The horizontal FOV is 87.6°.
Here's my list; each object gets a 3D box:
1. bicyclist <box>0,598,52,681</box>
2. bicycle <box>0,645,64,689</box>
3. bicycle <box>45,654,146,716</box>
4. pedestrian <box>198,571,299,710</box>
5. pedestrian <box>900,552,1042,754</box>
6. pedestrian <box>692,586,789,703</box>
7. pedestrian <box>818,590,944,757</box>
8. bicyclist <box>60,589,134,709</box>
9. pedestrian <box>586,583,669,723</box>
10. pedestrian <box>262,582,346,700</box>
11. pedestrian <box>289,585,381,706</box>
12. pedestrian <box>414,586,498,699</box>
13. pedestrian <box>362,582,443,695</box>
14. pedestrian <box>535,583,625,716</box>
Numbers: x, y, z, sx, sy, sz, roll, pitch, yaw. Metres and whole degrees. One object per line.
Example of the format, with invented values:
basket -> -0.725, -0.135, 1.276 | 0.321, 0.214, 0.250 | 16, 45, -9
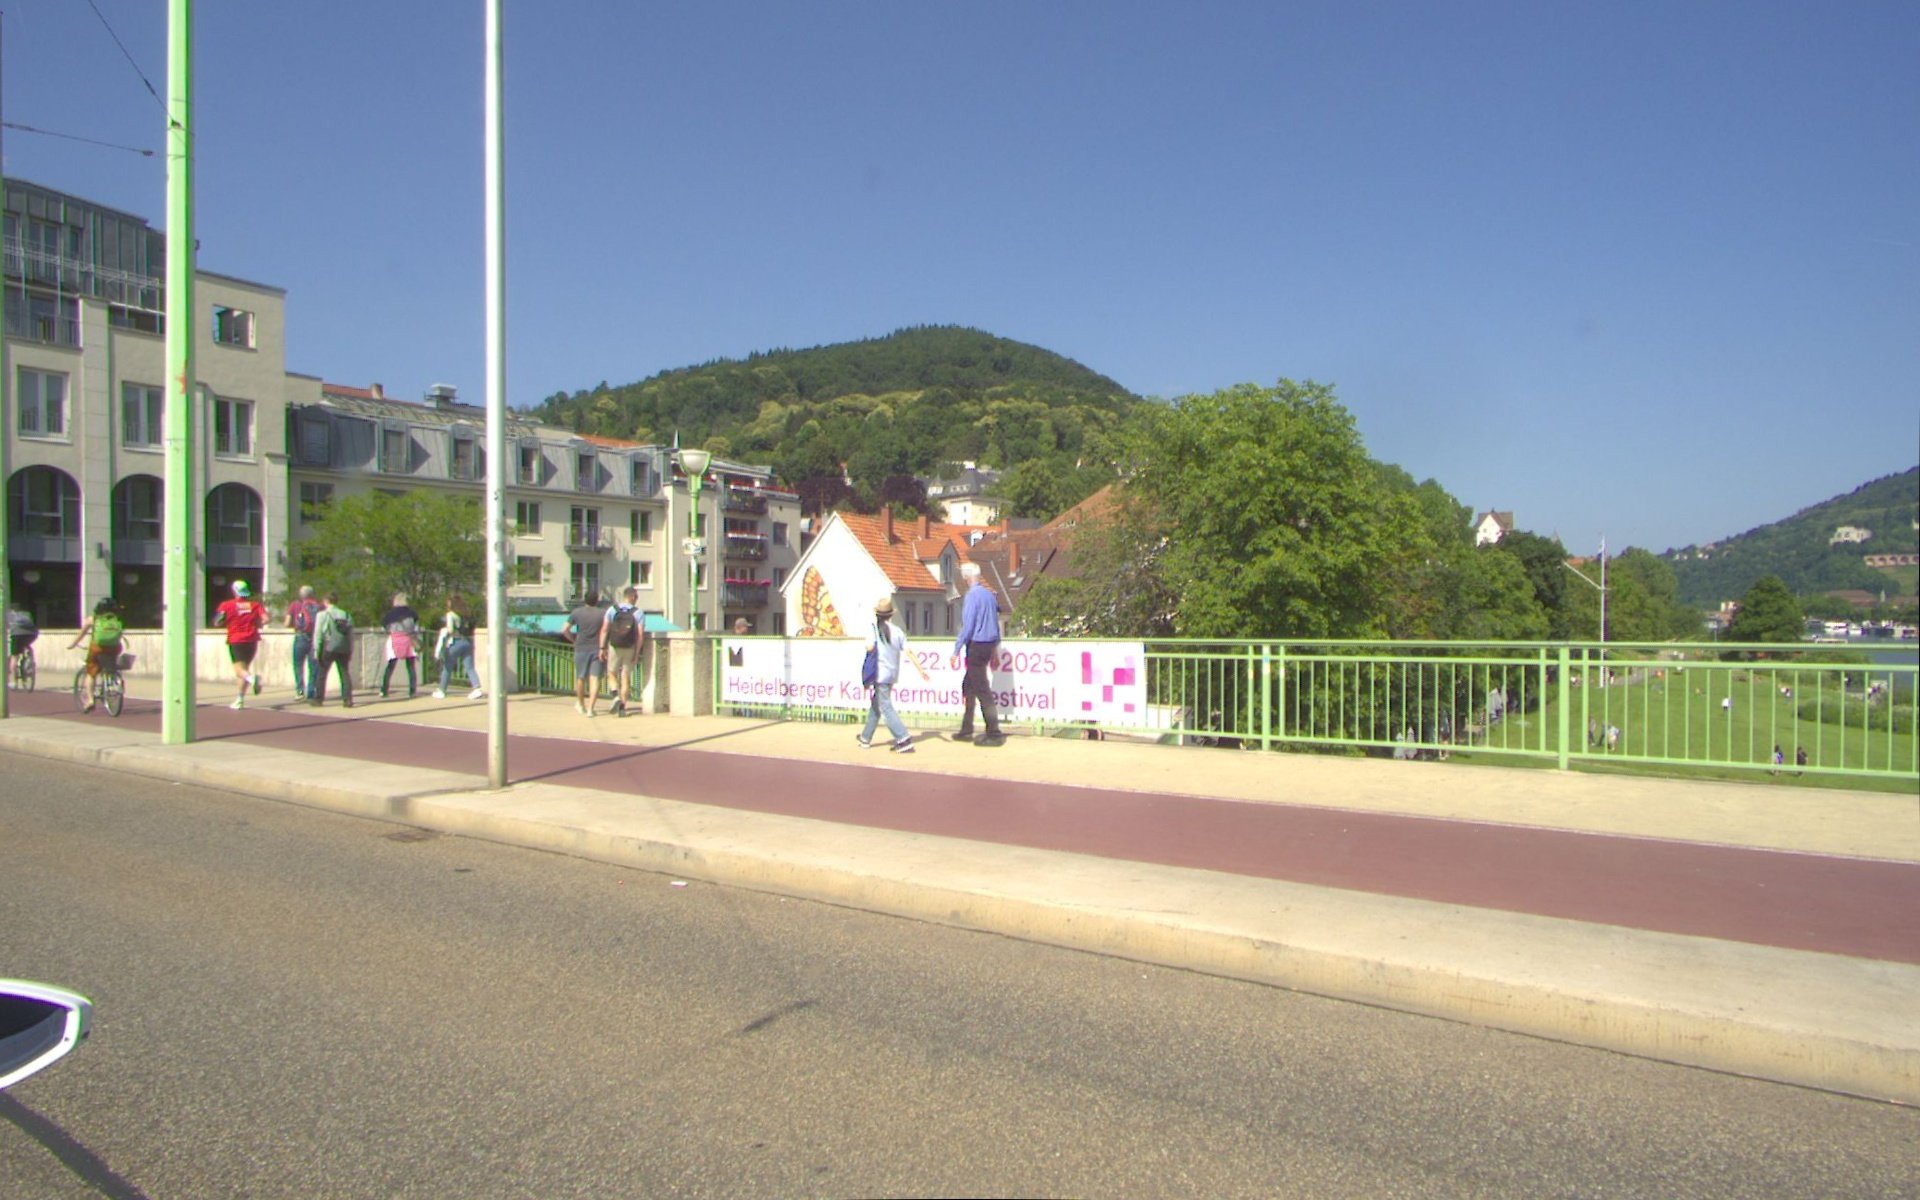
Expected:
bicyclist -> -18.126, 0.758, 19.400 | 0.691, 1.579, 0.586 | 0, 1, 30
bicycle -> -18.154, 1.277, 19.426 | 1.804, 0.776, 0.593 | -1, 1, 30
bicycle -> -12.455, 1.201, 14.412 | 1.840, 0.776, 0.592 | -1, 1, 33
pedestrian -> -10.464, 0.578, 14.730 | 1.111, 1.950, 0.809 | 0, 1, 32
pedestrian -> 0.122, 0.511, 10.206 | 1.121, 1.923, 0.924 | 0, 1, 32
pedestrian -> -3.524, 0.685, 16.168 | 0.965, 1.801, 1.202 | 0, 1, 27
pedestrian -> -0.773, 0.689, 9.916 | 0.919, 1.550, 0.827 | 0, 1, 32
bicyclist -> -12.345, 0.679, 14.328 | 0.692, 1.672, 0.603 | 0, 1, 33
pedestrian -> -4.362, 0.665, 13.101 | 0.733, 1.741, 1.008 | -1, 0, -38
pedestrian -> -10.496, 0.633, 16.026 | 1.001, 1.826, 0.737 | 0, 1, 32
pedestrian -> -9.418, 0.660, 15.099 | 1.058, 1.741, 0.753 | 0, 1, 32
pedestrian -> -8.173, 0.670, 16.250 | 1.000, 1.770, 0.738 | 0, 1, 28
pedestrian -> -9.196, 0.611, 16.531 | 1.001, 1.801, 0.737 | 0, 1, 32
pedestrian -> -5.214, 0.653, 13.740 | 1.004, 1.741, 0.735 | 0, 2, 42
